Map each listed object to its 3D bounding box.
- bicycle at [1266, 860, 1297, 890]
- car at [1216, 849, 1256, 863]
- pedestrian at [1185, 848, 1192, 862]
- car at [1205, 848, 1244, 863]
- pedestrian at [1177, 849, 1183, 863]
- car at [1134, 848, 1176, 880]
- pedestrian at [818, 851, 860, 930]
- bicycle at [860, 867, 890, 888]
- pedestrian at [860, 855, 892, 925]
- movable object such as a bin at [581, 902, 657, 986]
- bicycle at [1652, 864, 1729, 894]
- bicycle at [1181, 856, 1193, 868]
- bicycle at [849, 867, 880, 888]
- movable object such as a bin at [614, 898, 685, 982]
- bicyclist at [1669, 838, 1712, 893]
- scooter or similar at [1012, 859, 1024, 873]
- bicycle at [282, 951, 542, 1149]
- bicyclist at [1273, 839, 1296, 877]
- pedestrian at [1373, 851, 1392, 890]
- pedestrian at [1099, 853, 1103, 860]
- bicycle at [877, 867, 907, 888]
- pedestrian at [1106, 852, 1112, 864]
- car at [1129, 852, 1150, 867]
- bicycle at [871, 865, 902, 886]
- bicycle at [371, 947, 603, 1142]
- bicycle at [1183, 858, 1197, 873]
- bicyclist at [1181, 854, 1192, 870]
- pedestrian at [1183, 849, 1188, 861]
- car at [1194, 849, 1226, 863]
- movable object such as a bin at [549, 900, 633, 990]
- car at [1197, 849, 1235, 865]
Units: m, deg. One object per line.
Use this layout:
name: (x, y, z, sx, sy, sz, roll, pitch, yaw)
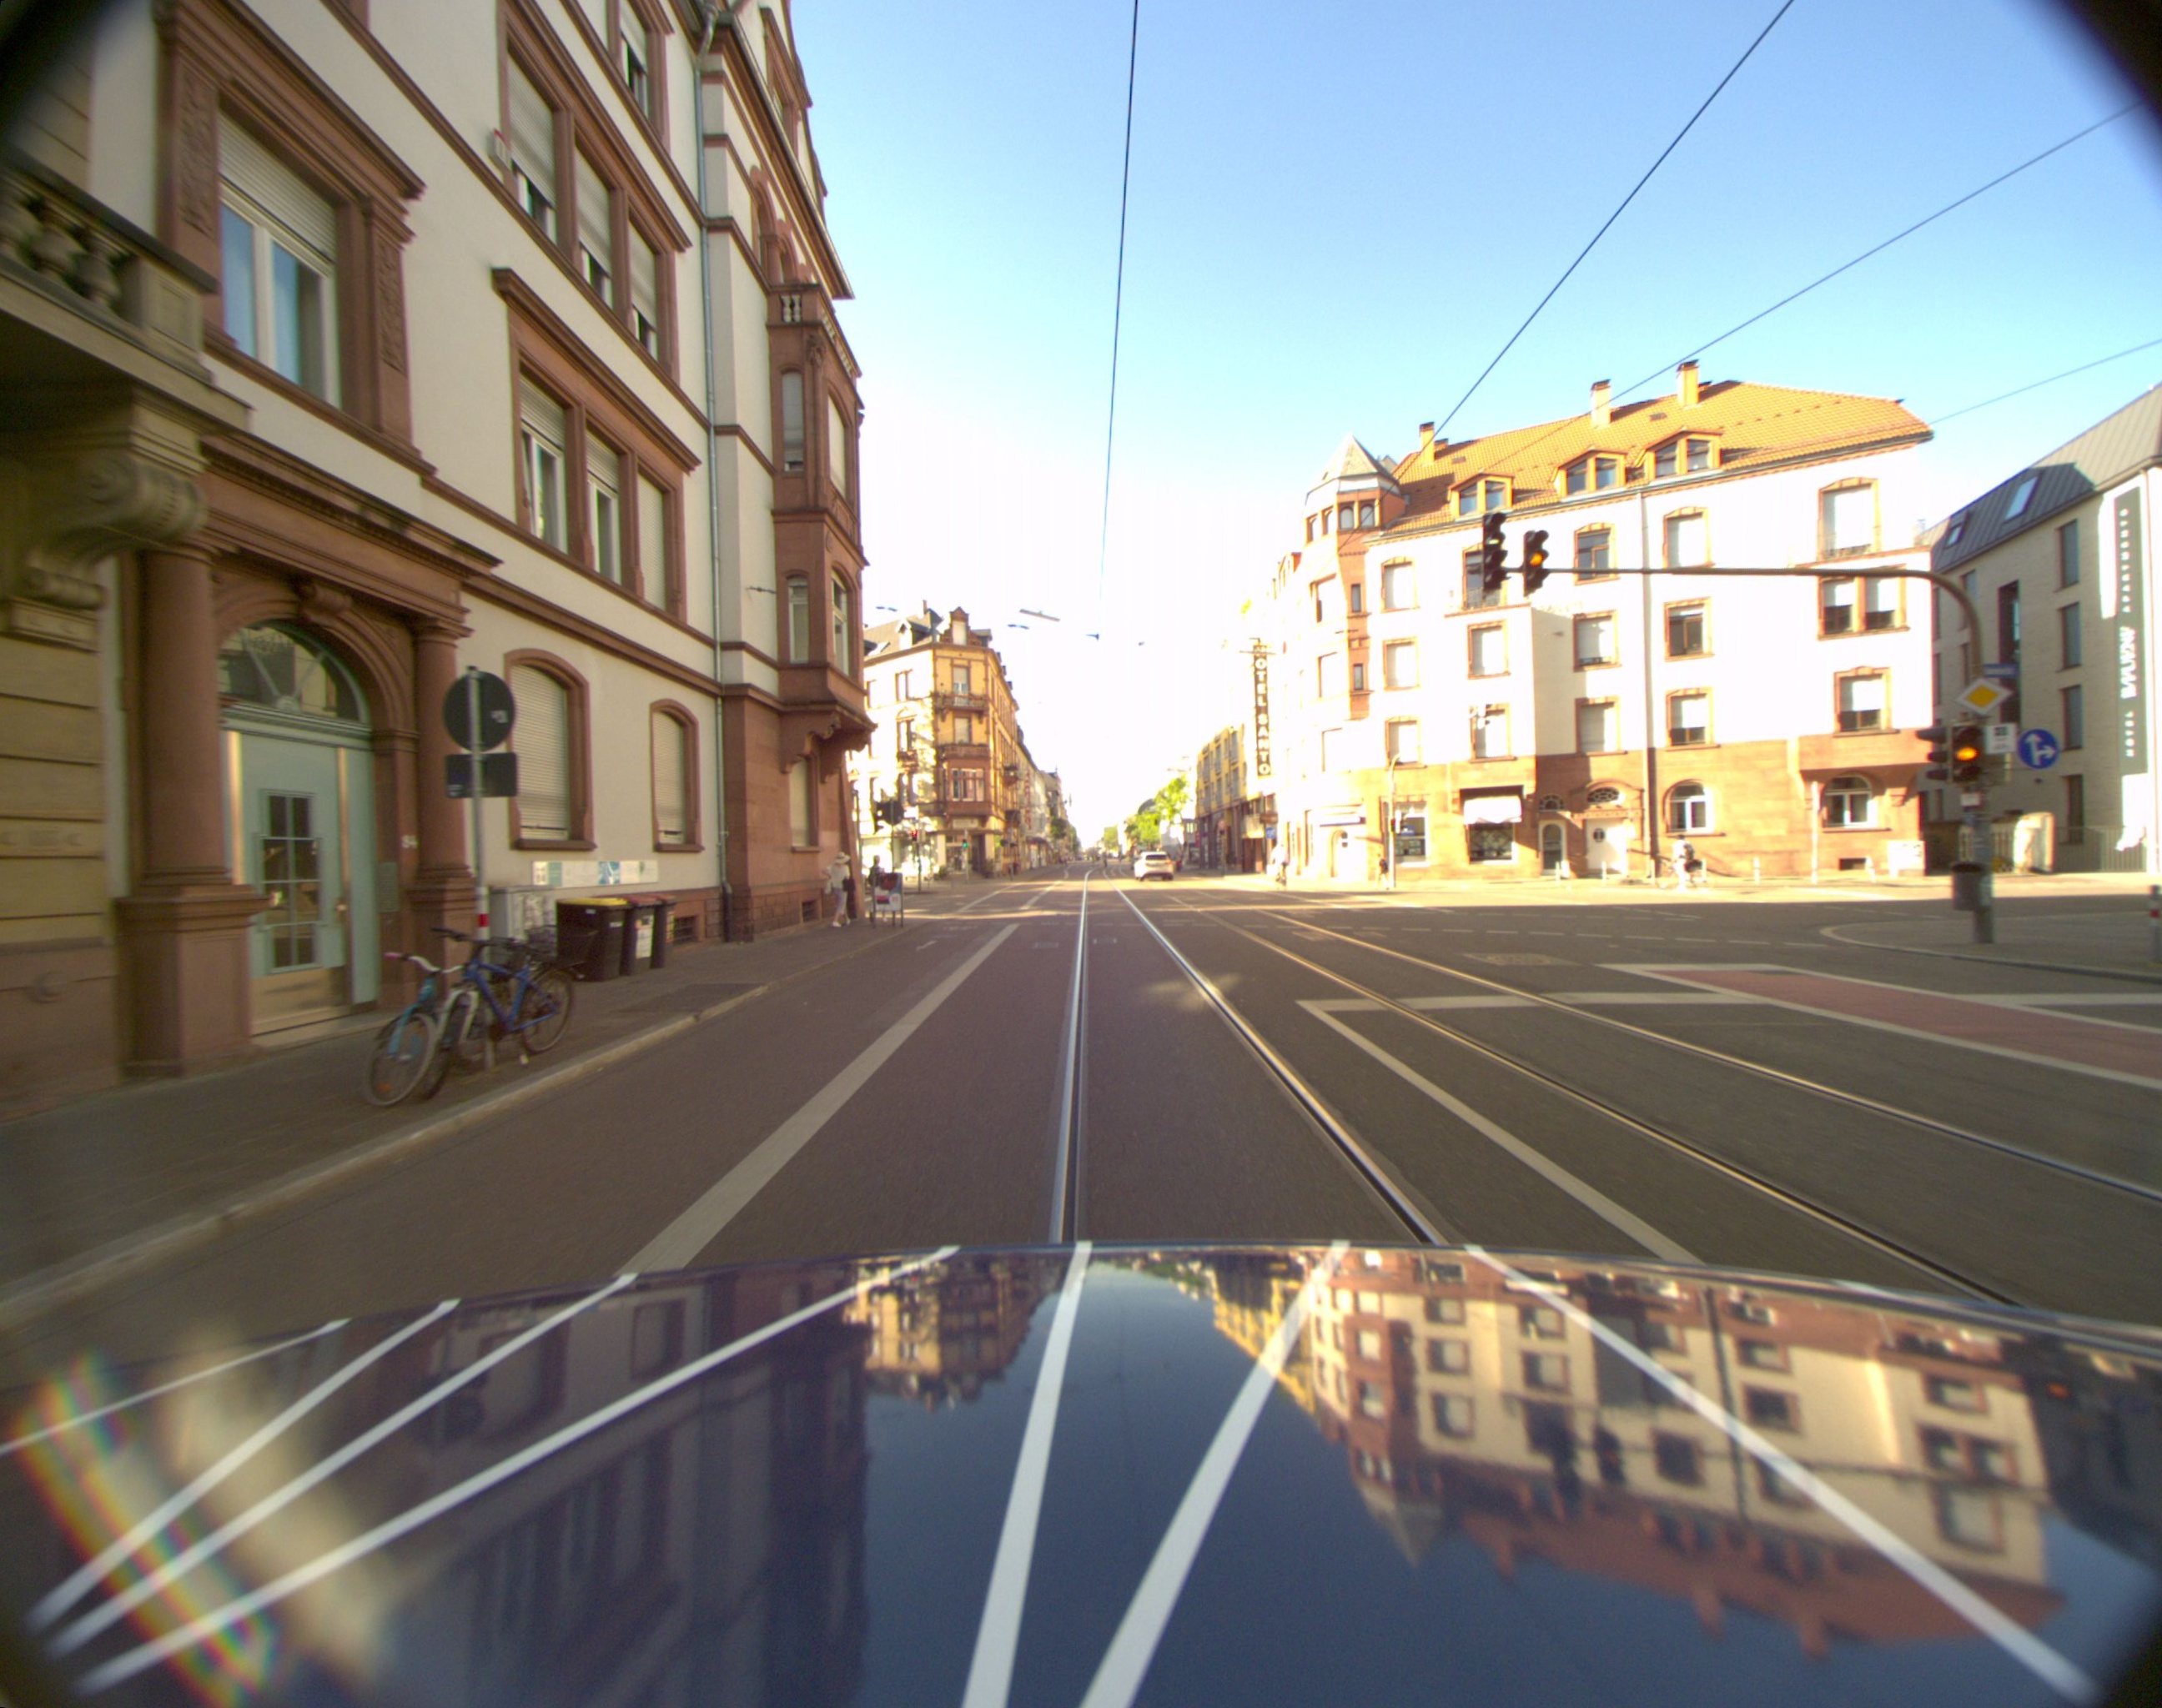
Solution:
bicycle: (8.024, 0.828, 30.508, 0.694, 1.114, 2.083, -1, 0, 0)
car: (17.572, 0.205, 86.387, 4.244, 1.540, 1.784, -1, 2, 1)
pedestrian: (14.276, 0.123, 101.177, 0.715, 1.754, 0.779, -2, 1, -8)
car: (16.814, 0.199, 89.194, 4.244, 1.600, 1.785, -1, 0, 1)
pedestrian: (13.834, 0.214, 105.900, 0.639, 1.935, 0.709, -1, 1, -1)
car: (4.357, 0.569, 45.351, 1.999, 1.734, 4.562, -2, 0, -1)
pedestrian: (-5.619, 0.833, 17.663, 0.707, 1.771, 0.673, -2, -1, -1)
bicycle: (-12.723, 1.431, 46.992, 0.617, 1.136, 2.122, -1, 3, 23)
pedestrian: (-5.056, 0.877, 18.788, 0.628, 1.691, 0.682, -2, 1, -8)
movable object such as a bin: (-6.257, 1.207, 10.309, 0.667, 1.070, 0.571, 0, 0, -1)
bicycle: (19.802, 0.799, 24.704, 0.793, 0.904, 1.809, -2, 0, -38)
bicycle: (9.571, 0.736, 68.458, 0.732, 1.059, 2.061, -1, 0, -1)
bicycle: (-13.428, 1.477, 47.247, 0.617, 1.136, 2.122, -1, 3, 23)
movable object such as a bin: (-6.221, 1.221, 10.970, 0.667, 1.147, 0.594, -1, 0, -1)
bicyclist: (19.801, 0.373, 24.689, 0.617, 1.753, 0.971, -2, 1, -39)
scooter or similar: (-5.390, 0.998, 64.856, 0.899, 1.142, 0.547, 3, 1, -1)
bicycle: (-4.595, 1.276, 5.397, 0.432, 0.942, 1.762, -1, 0, -7)
bicyclist: (8.103, 0.164, 30.274, 0.684, 1.475, 0.778, -1, 1, 0)
pedestrian: (12.224, 0.665, 30.814, 0.544, 1.543, 0.516, -2, 1, -1)
pedestrian: (4.234, 0.538, 160.335, 0.716, 1.635, 0.400, -1, 1, 3)
bicycle: (-11.616, 1.424, 46.838, 0.617, 1.136, 2.123, -1, 2, 23)
pedestrian: (3.622, 0.522, 98.056, 0.781, 1.551, 0.650, -1, 1, 0)
car: (6.449, 0.602, 84.173, 1.990, 1.493, 4.308, -1, 0, 0)
bicycle: (-12.032, 1.328, 47.056, 0.617, 1.136, 2.123, -1, 2, 23)
bicycle: (-4.128, 1.253, 5.457, 0.432, 0.942, 1.762, -1, 0, -7)
bicycle: (8.545, 0.881, 59.431, 0.732, 1.176, 2.061, -1, 0, -1)
bicyclist: (9.569, 0.725, 68.711, 0.737, 1.373, 1.468, -1, 0, -1)
pedestrian: (14.521, 0.094, 105.387, 0.573, 1.608, 0.499, -1, 0, -1)
car: (16.031, 0.235, 94.834, 3.698, 1.663, 1.785, -1, 0, 1)
movable object such as a bin: (-6.244, 1.148, 9.702, 0.667, 1.070, 0.571, -1, 1, -1)
car: (16.237, 0.316, 91.635, 4.244, 1.802, 1.784, -1, 2, 1)
